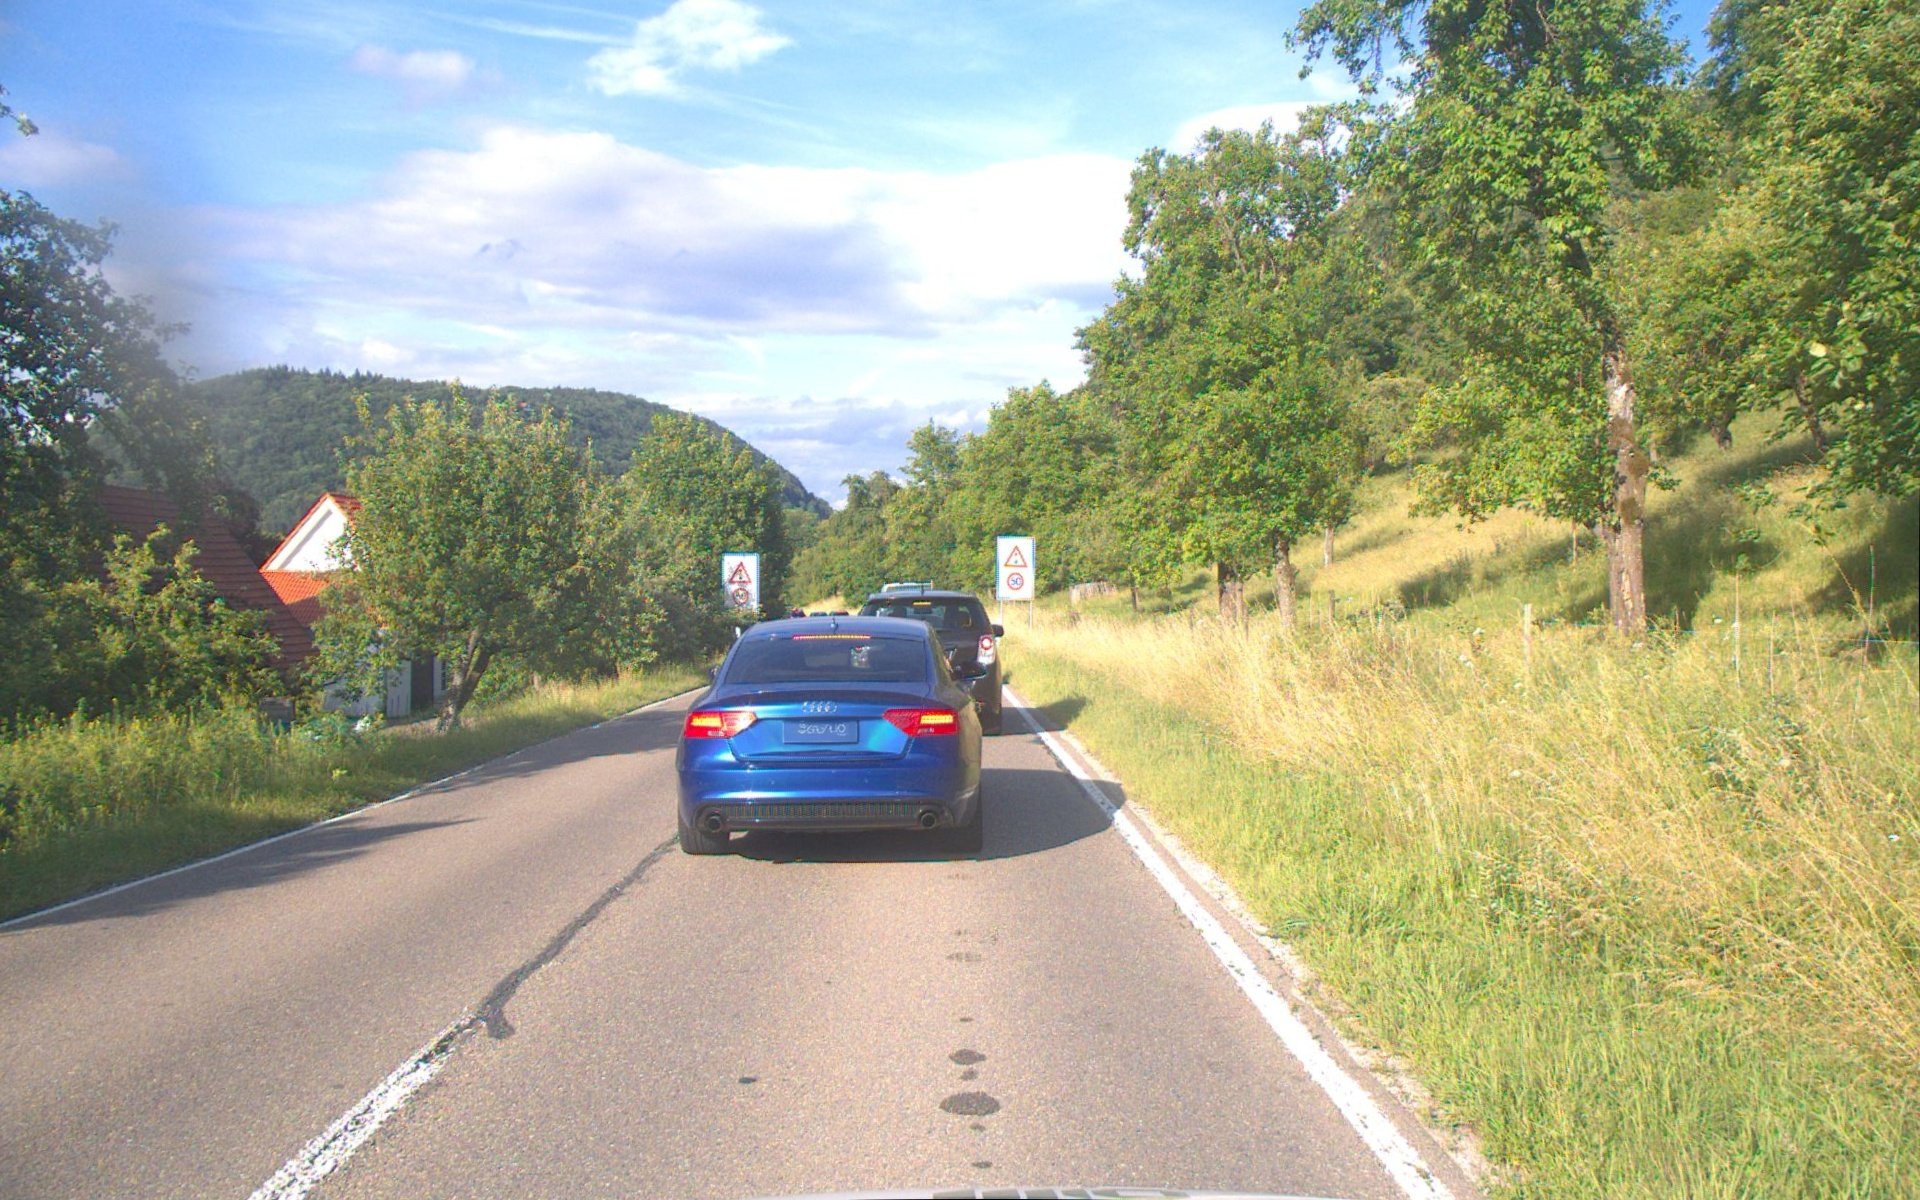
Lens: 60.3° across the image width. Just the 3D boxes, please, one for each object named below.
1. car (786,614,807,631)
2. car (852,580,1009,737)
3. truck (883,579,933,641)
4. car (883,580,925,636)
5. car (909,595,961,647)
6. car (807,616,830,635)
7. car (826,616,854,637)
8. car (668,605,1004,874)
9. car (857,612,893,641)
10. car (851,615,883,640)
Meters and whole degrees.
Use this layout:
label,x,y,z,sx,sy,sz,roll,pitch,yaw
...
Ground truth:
label,x,y,z,sx,sy,sz,roll,pitch,yaw
car,-15.598,2.146,157.799,1.532,1.522,3.765,2,0,-13
car,-0.355,0.615,19.482,1.658,1.652,3.788,1,0,-1
truck,-2.168,0.391,68.323,1.911,2.386,5.092,2,0,-2
car,-2.648,0.382,77.869,1.757,2.496,3.916,2,0,-4
car,-0.847,0.675,55.572,1.658,1.652,3.788,1,0,-1
car,-12.246,2.199,143.126,1.531,1.522,3.766,2,0,-12
car,-9.473,2.053,130.668,1.717,1.522,3.767,2,0,-12
car,-0.688,0.754,10.884,1.769,1.406,4.214,-1,0,-1
car,-4.873,1.516,94.478,1.715,1.522,3.772,2,0,-7
car,-6.227,1.829,110.672,1.716,1.522,3.770,2,0,-9
